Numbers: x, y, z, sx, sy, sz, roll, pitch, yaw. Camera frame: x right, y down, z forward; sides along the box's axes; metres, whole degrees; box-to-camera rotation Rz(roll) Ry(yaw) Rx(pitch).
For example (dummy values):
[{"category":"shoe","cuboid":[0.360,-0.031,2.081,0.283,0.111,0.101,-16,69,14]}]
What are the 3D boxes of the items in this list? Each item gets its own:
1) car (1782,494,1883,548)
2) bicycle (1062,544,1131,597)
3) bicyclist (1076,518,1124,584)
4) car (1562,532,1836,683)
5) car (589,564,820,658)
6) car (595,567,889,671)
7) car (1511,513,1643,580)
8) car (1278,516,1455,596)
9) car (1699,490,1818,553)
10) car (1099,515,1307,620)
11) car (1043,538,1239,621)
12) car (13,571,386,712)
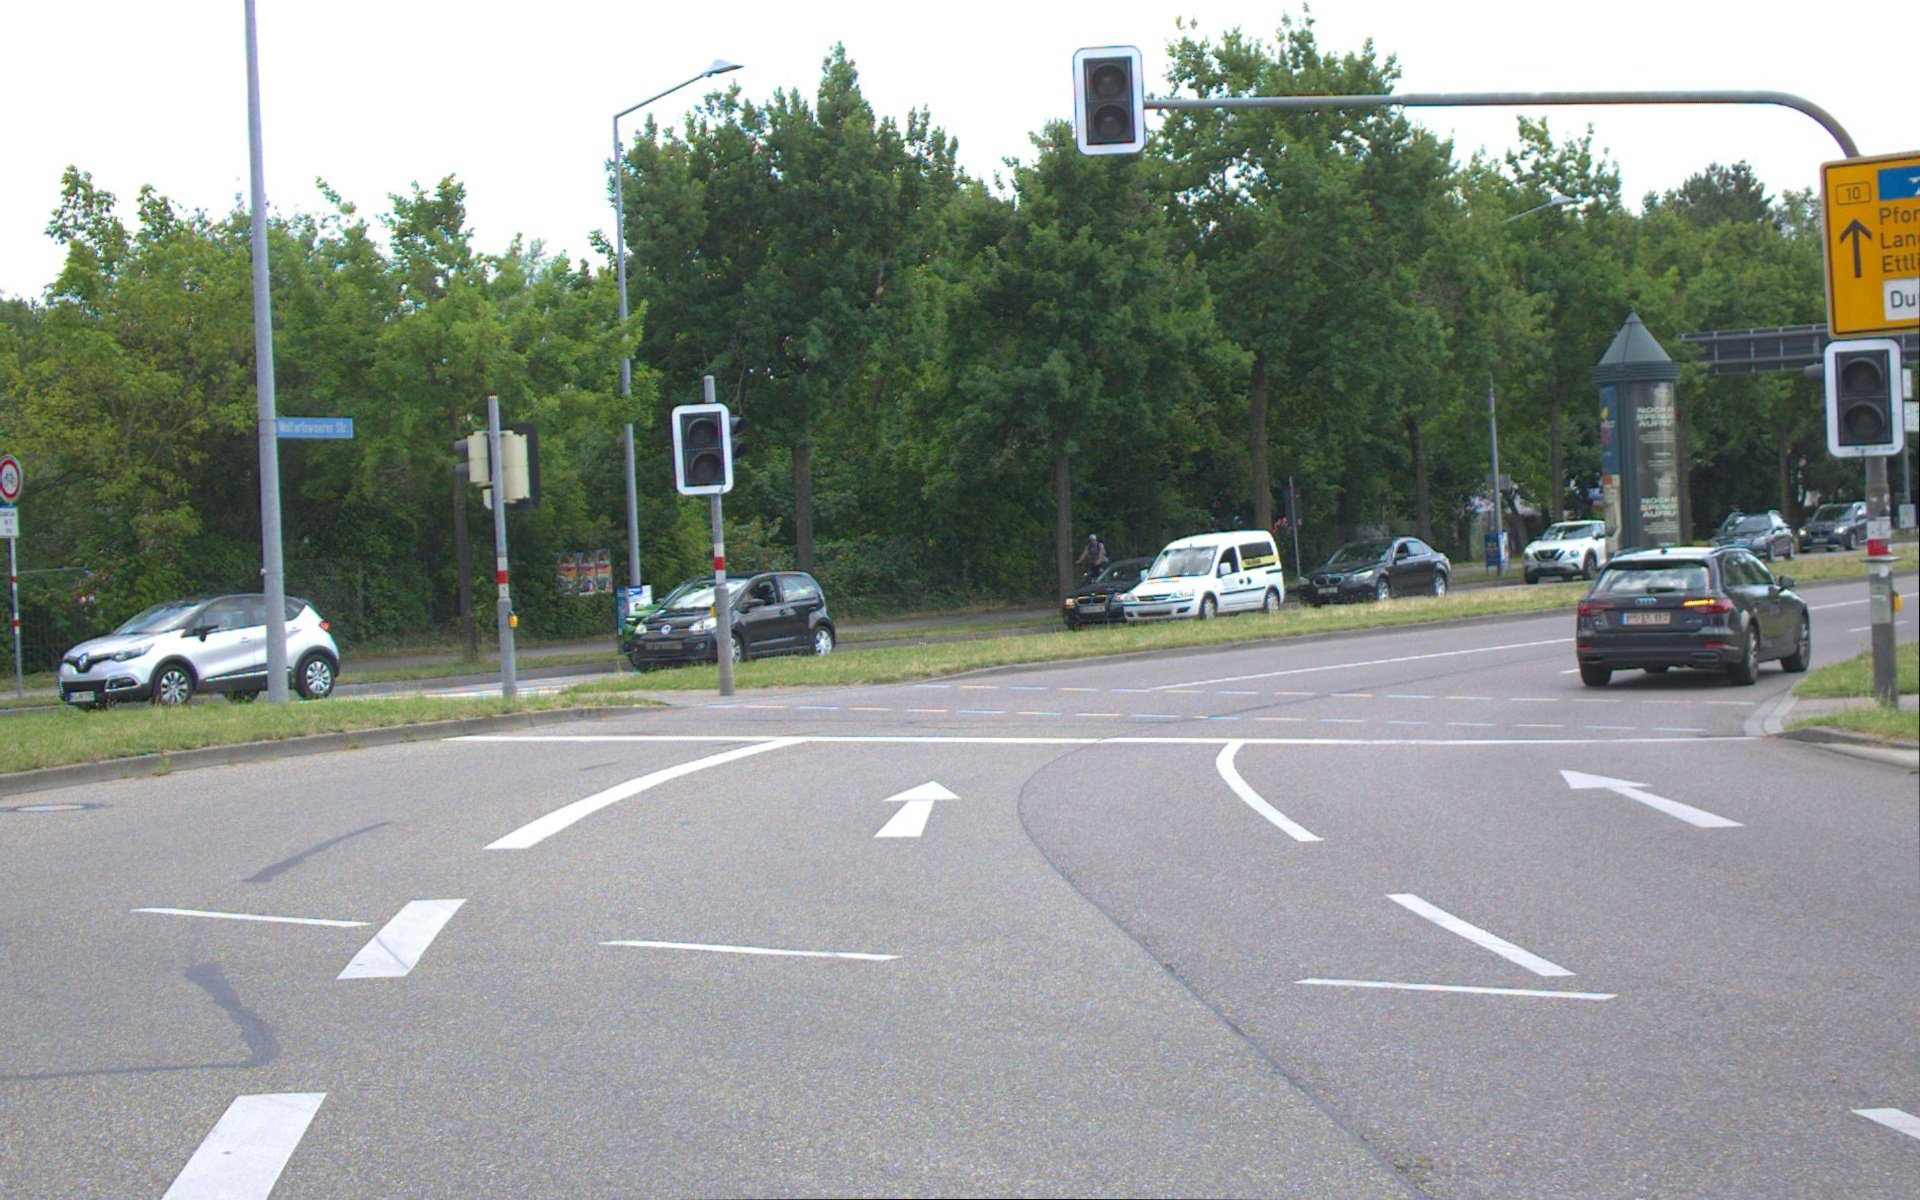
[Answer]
[{"category":"car","cuboid":[28.341,-2.582,111.623,1.766,1.571,5.023,-3,1,31]},{"category":"bicycle","cuboid":[3.272,-0.720,82.210,0.762,1.215,2.013,1,2,31]},{"category":"bicyclist","cuboid":[3.349,-1.185,82.318,0.831,1.559,0.882,1,2,31]},{"category":"car","cuboid":[7.903,0.041,36.523,1.686,1.458,3.994,0,2,30]},{"category":"car","cuboid":[-4.211,0.163,57.203,1.618,1.343,4.163,-4,0,32]},{"category":"car","cuboid":[-3.245,0.262,52.204,1.841,1.306,4.779,-4,0,34]},{"category":"car","cuboid":[16.264,-1.421,90.504,1.913,1.535,4.361,-3,1,31]},{"category":"car","cuboid":[8.662,-0.948,72.992,1.841,1.475,4.745,-4,0,31]},{"category":"car","cuboid":[22.476,-2.221,96.641,1.725,1.585,5.005,-3,1,31]},{"category":"car","cuboid":[4.696,-0.648,65.792,1.841,1.793,4.779,-4,0,32]},{"category":"car","cuboid":[3.722,-0.433,70.074,1.841,1.438,4.410,-4,0,35]},{"category":"car","cuboid":[-10.428,0.545,47.451,1.998,1.680,4.777,-1,1,38]}]
